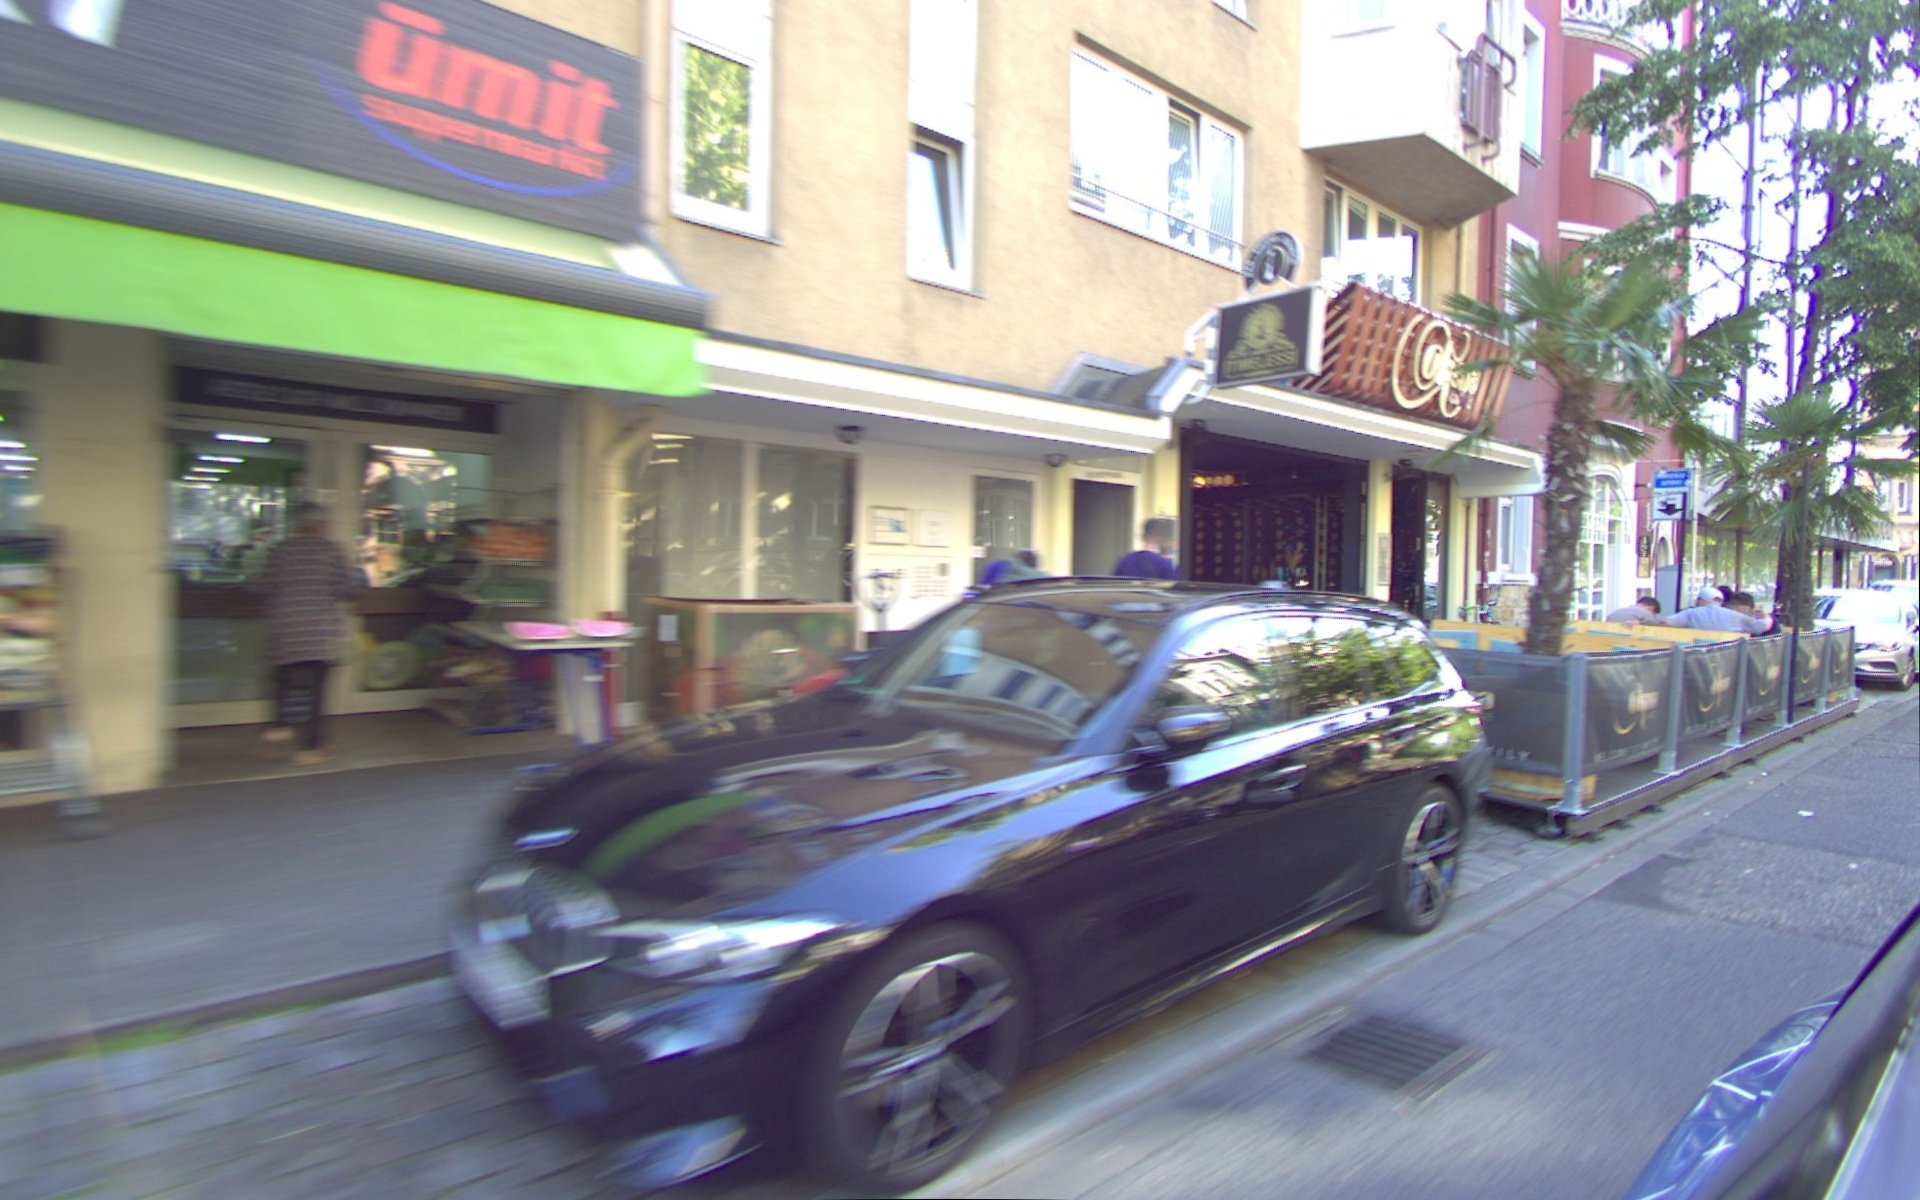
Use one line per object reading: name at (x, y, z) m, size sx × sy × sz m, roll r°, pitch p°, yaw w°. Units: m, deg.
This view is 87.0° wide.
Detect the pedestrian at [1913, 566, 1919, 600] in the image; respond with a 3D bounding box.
pedestrian at (48.383, -0.850, 50.696) m, size 0.663 × 1.712 × 0.619 m, roll 0°, pitch 3°, yaw 4°

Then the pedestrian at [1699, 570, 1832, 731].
pedestrian at (8.240, 0.482, 10.367) m, size 0.791 × 1.555 × 0.753 m, roll 0°, pitch 2°, yaw -26°

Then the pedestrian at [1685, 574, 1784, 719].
pedestrian at (8.764, 0.495, 11.457) m, size 0.762 × 1.555 × 0.694 m, roll 0°, pitch 2°, yaw -39°

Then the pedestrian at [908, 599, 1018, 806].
pedestrian at (0.017, 0.593, 6.152) m, size 0.491 × 1.177 × 0.444 m, roll 0°, pitch 2°, yaw -34°

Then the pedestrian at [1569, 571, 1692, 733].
pedestrian at (6.751, 0.492, 10.210) m, size 0.753 × 1.555 × 0.715 m, roll 0°, pitch 2°, yaw -26°

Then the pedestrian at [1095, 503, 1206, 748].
pedestrian at (1.410, 0.167, 7.484) m, size 0.627 × 1.716 × 0.497 m, roll 2°, pitch 2°, yaw 38°

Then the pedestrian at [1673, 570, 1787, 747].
pedestrian at (7.223, 0.503, 9.494) m, size 0.963 × 1.555 × 0.651 m, roll -1°, pitch 2°, yaw -42°

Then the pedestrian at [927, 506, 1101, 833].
pedestrian at (0.303, 0.353, 5.781) m, size 0.748 × 1.716 × 0.619 m, roll 0°, pitch 2°, yaw -35°

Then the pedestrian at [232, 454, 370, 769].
pedestrian at (-3.759, 0.048, 5.822) m, size 0.606 × 1.662 × 0.763 m, roll 0°, pitch 2°, yaw -29°

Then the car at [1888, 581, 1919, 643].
car at (24.502, 0.311, 24.871) m, size 4.756 × 1.419 × 1.827 m, roll -1°, pitch 4°, yaw -40°

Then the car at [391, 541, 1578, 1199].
car at (0.592, 0.598, 4.127) m, size 4.825 × 1.489 × 1.826 m, roll -1°, pitch 4°, yaw -41°

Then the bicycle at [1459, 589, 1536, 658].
bicycle at (8.417, 0.345, 15.824) m, size 1.671 × 1.014 × 0.475 m, roll -1°, pitch 2°, yaw -41°

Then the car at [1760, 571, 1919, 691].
car at (14.959, 0.399, 16.692) m, size 4.757 × 1.615 × 1.826 m, roll -1°, pitch 4°, yaw -41°

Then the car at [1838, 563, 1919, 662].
car at (19.816, 0.233, 20.627) m, size 4.839 × 1.799 × 1.828 m, roll 0°, pitch 4°, yaw -37°

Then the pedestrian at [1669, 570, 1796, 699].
pedestrian at (9.878, 0.399, 12.953) m, size 0.875 × 1.555 × 1.059 m, roll 0°, pitch 2°, yaw -36°

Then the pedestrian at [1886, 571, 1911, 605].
pedestrian at (48.250, -0.624, 52.030) m, size 0.701 × 1.713 × 0.621 m, roll 0°, pitch 1°, yaw -13°
